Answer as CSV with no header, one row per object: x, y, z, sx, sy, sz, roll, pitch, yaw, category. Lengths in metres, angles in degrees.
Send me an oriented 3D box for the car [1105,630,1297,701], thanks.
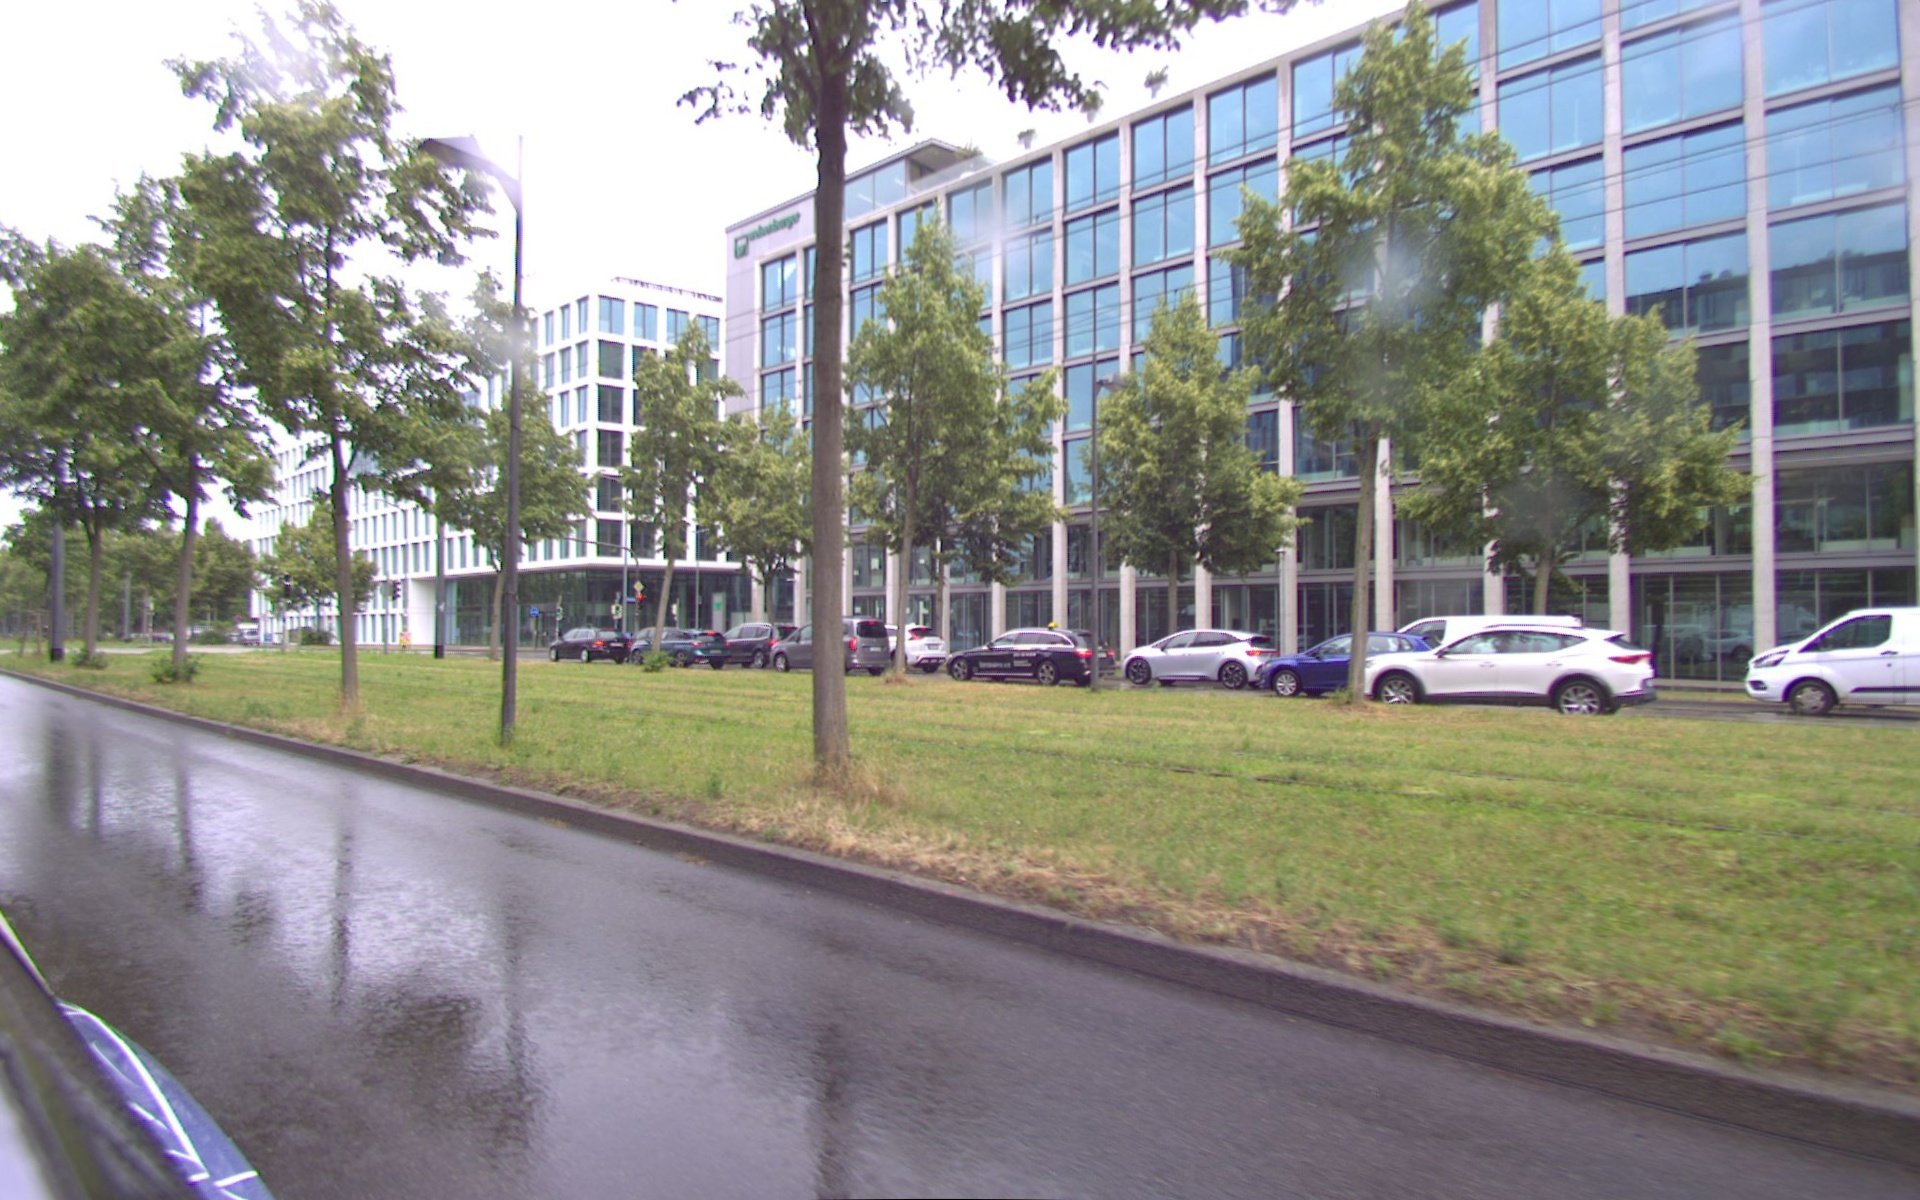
6.448,1.779,27.342,4.628,1.759,1.931,-4,-4,39,car

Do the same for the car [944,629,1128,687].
1.952,1.559,26.850,4.601,1.396,1.931,-5,-4,40,car

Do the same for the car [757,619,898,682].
-4.287,1.612,32.250,4.540,1.863,1.931,-3,-4,41,car

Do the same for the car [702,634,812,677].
-7.981,2.185,39.621,4.267,1.552,1.931,-4,-4,39,car

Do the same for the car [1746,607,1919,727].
17.296,1.129,17.684,5.371,2.022,2.243,-5,-5,42,car

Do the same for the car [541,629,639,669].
-15.426,2.064,42.102,4.460,1.571,1.930,-4,-4,41,car

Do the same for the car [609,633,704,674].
-13.299,2.302,44.225,4.268,1.707,1.931,-1,-3,40,car

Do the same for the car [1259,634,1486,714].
8.584,1.543,21.199,3.957,1.506,1.931,-4,-4,39,car

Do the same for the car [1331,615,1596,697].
11.326,1.313,22.986,5.024,1.664,1.931,-4,-4,39,car

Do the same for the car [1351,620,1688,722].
9.111,1.084,16.729,4.573,1.463,1.930,-2,-2,41,car

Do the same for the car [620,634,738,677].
-10.284,2.048,36.899,4.468,1.396,1.931,-5,-5,39,car

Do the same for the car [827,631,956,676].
-2.409,1.877,35.033,4.267,1.396,1.931,-4,-4,39,car
